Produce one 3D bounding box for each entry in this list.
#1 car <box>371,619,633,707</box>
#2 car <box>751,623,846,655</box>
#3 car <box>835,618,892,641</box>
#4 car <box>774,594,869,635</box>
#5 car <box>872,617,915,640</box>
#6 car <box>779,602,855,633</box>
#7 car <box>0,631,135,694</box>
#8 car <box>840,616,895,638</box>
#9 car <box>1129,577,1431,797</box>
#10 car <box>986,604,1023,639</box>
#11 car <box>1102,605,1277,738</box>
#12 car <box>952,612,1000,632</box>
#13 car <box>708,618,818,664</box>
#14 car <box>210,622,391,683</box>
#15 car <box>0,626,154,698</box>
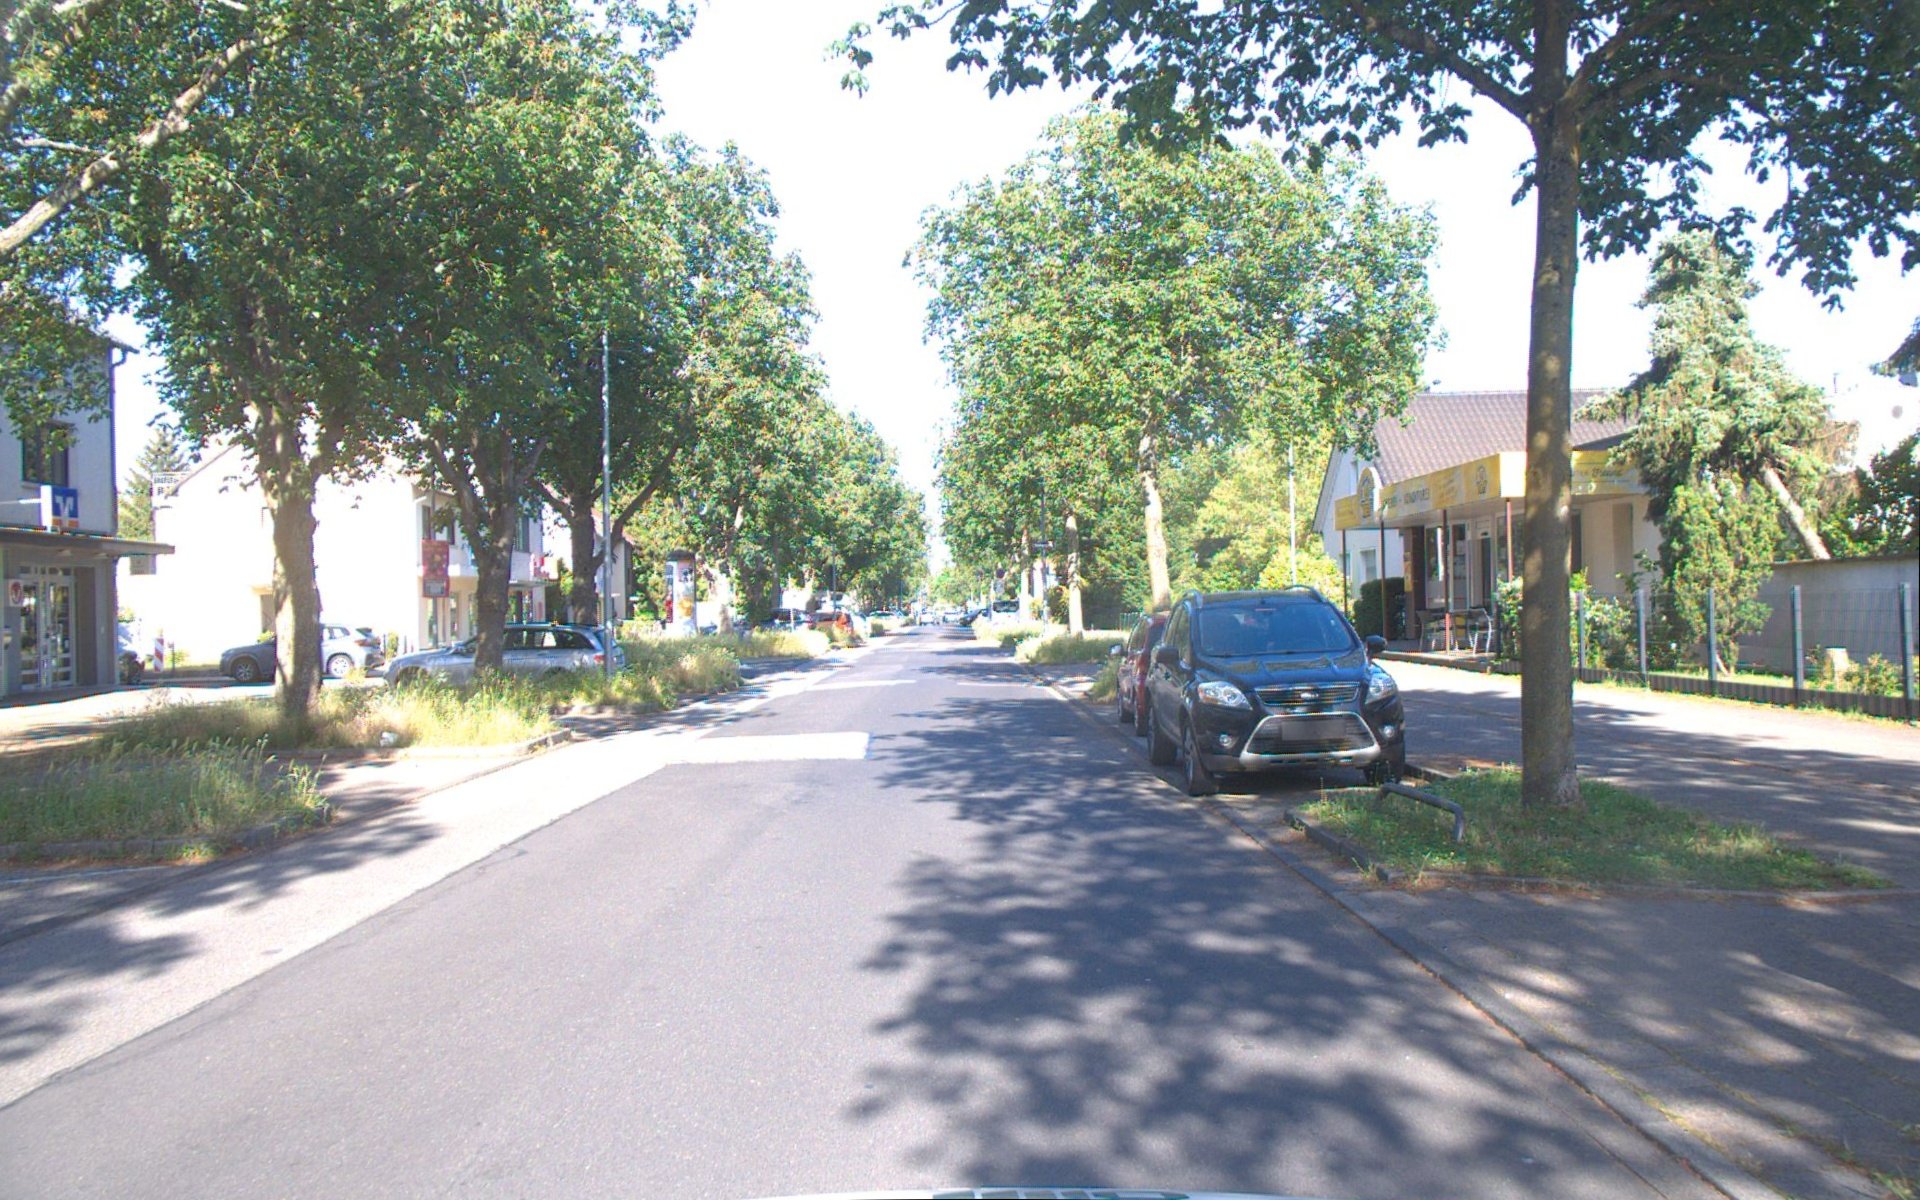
[{"bbox_3d":[-8.650,1.170,31.498,4.461,1.537,1.841,1,1,-1],"label":"car"},{"bbox_3d":[-7.325,1.755,75.182,4.203,1.338,1.907,0,1,-5],"label":"car"},{"bbox_3d":[-6.426,1.989,110.331,3.624,1.472,1.665,0,-1,3],"label":"car"},{"bbox_3d":[-8.087,0.837,96.984,5.387,2.287,2.516,0,1,-2],"label":"car"},{"bbox_3d":[-6.426,2.749,160.149,3.903,2.049,2.001,1,1,4],"label":"car"},{"bbox_3d":[-7.545,0.925,87.528,3.794,1.505,1.894,1,-1,2],"label":"car"},{"bbox_3d":[-20.688,1.413,38.256,1.509,1.258,3.510,0,1,-2],"label":"car"},{"bbox_3d":[-6.349,1.846,113.935,3.624,1.472,1.665,0,-1,3],"label":"car"},{"bbox_3d":[2.745,0.732,15.248,1.815,1.654,4.468,-2,-1,-1],"label":"car"},{"bbox_3d":[2.329,1.173,88.052,1.864,1.805,4.300,0,-1,0],"label":"car"},{"bbox_3d":[2.899,0.887,21.648,1.663,1.505,3.887,-3,-1,-1],"label":"car"},{"bbox_3d":[1.405,1.956,147.060,3.922,1.672,1.992,0,1,-16],"label":"car"},{"bbox_3d":[-8.197,1.697,69.123,4.457,1.796,1.998,0,1,-5],"label":"car"},{"bbox_3d":[-19.103,1.504,48.070,4.465,1.646,1.998,0,1,-4],"label":"car"},{"bbox_3d":[-26.107,1.777,47.982,4.465,1.961,1.998,0,1,-4],"label":"car"}]
